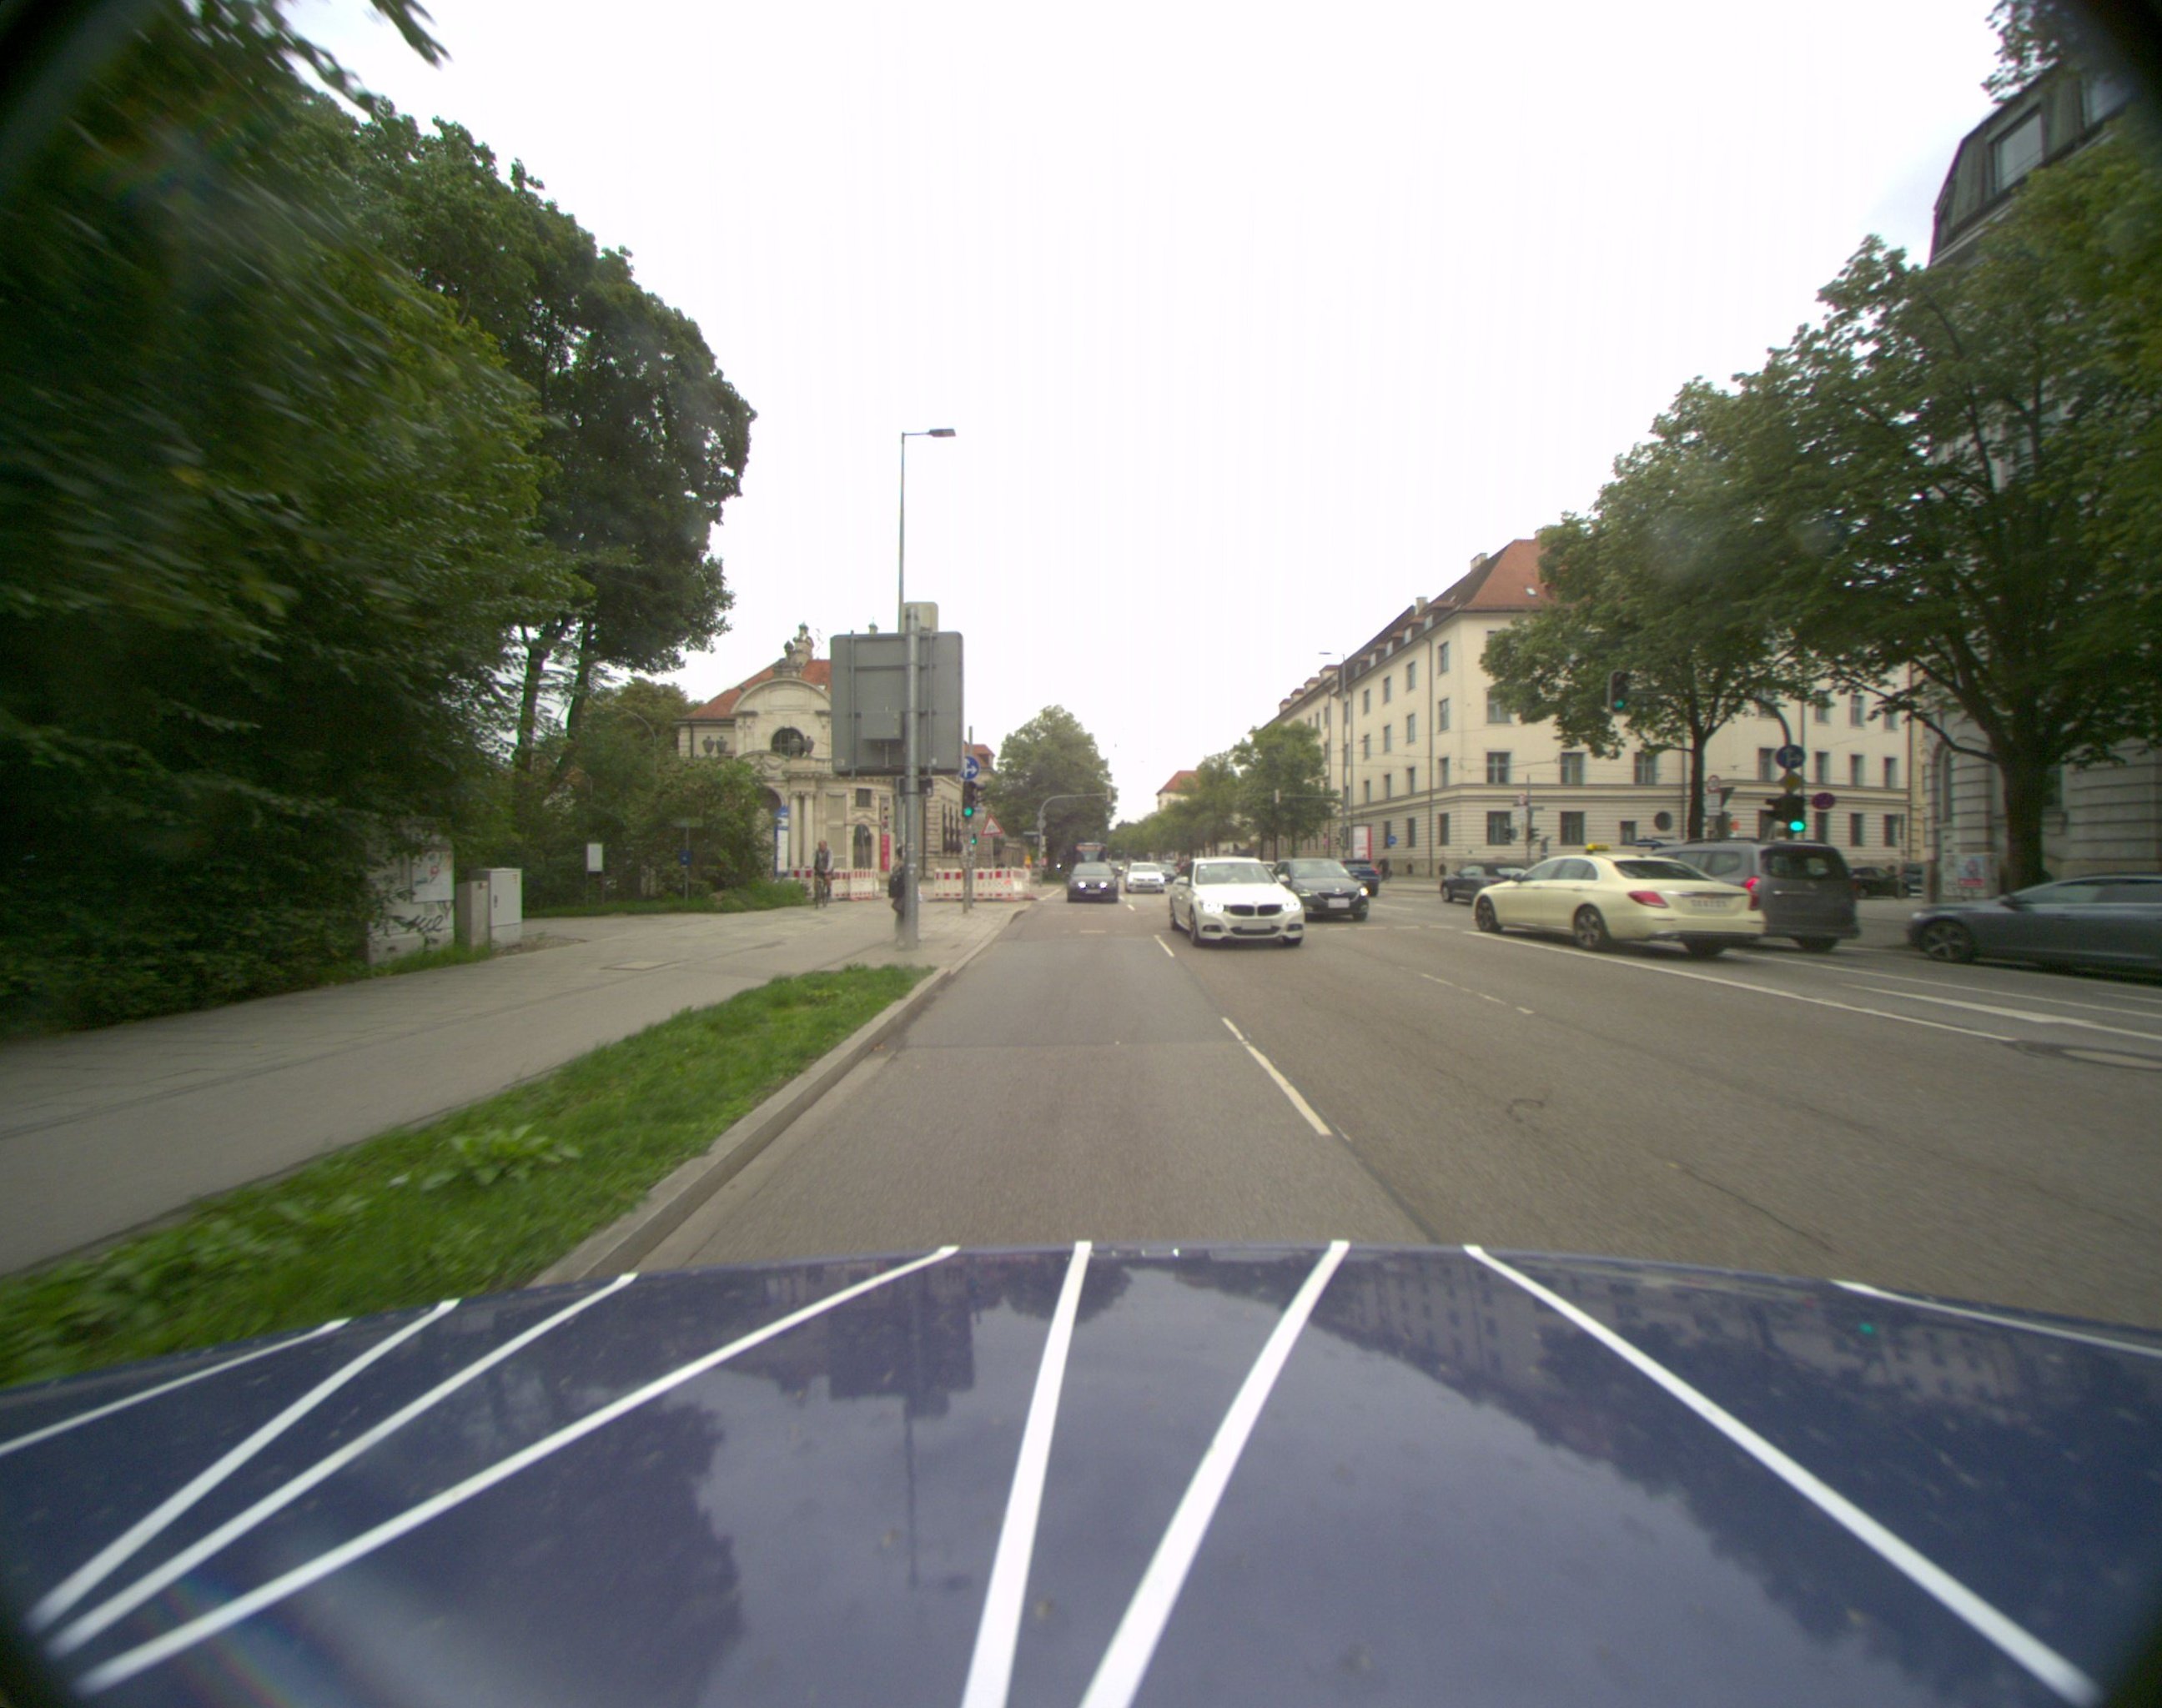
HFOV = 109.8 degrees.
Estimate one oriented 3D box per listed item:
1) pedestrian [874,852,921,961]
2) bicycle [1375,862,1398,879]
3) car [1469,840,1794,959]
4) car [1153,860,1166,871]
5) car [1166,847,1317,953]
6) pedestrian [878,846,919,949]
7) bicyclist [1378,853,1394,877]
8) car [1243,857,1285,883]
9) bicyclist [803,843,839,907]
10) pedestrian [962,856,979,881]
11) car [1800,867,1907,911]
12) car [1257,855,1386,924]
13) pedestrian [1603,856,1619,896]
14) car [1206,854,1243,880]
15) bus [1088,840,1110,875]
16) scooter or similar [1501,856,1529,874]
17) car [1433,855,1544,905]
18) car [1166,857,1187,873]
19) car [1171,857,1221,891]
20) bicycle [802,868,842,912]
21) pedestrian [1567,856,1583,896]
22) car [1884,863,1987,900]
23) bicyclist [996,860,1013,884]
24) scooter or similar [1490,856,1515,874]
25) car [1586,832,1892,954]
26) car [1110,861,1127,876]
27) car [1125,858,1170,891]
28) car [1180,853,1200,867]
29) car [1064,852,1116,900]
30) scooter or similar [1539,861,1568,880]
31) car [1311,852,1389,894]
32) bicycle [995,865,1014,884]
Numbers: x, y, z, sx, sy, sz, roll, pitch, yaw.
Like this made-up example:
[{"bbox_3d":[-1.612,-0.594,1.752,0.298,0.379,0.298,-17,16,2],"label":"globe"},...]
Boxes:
[{"bbox_3d":[-3.012,0.842,12.513,0.626,1.750,0.635,-1,1,-4],"label":"pedestrian"},{"bbox_3d":[19.955,1.069,49.659,0.663,0.982,2.181,-2,0,1],"label":"bicycle"},{"bbox_3d":[8.357,0.570,12.255,1.832,1.533,4.823,0,1,2],"label":"car"},{"bbox_3d":[12.331,1.741,119.460,1.683,1.630,4.165,0,0,1],"label":"car"},{"bbox_3d":[2.762,0.690,14.266,1.797,1.627,5.026,-1,0,0],"label":"car"},{"bbox_3d":[-3.207,0.745,13.389,0.610,1.750,0.635,-1,1,-6],"label":"pedestrian"},{"bbox_3d":[19.944,0.718,49.752,0.661,1.569,0.892,-2,1,1],"label":"bicyclist"},{"bbox_3d":[11.788,1.004,49.272,1.748,1.586,4.000,1,0,0],"label":"car"},{"bbox_3d":[-6.977,0.552,20.431,0.759,1.657,0.898,-2,1,-13],"label":"bicyclist"},{"bbox_3d":[-7.842,1.038,54.064,1.067,1.754,0.774,-2,1,-2],"label":"pedestrian"},{"bbox_3d":[32.050,1.410,31.532,3.576,1.720,1.691,0,0,-18],"label":"car"},{"bbox_3d":[5.705,0.766,18.577,1.797,1.439,4.274,-1,0,0],"label":"car"},{"bbox_3d":[24.727,1.034,35.465,0.502,1.844,0.470,0,1,19],"label":"pedestrian"},{"bbox_3d":[9.084,0.794,48.218,1.638,1.562,3.946,0,0,1],"label":"car"},{"bbox_3d":[1.373,0.285,60.023,1.638,2.570,6.702,0,0,1],"label":"bus"},{"bbox_3d":[27.963,0.691,48.936,0.690,1.112,1.948,-2,0,1],"label":"scooter or similar"},{"bbox_3d":[13.983,0.824,26.358,1.739,1.567,4.056,-1,0,1],"label":"car"},{"bbox_3d":[9.729,1.059,77.395,1.638,1.562,3.946,0,0,1],"label":"car"},{"bbox_3d":[5.432,0.903,36.309,1.696,1.507,4.338,0,0,0],"label":"car"},{"bbox_3d":[-6.944,0.938,20.431,0.740,1.051,2.160,-2,0,-13],"label":"bicycle"},{"bbox_3d":[23.046,1.031,35.429,0.502,1.844,0.528,0,1,19],"label":"pedestrian"},{"bbox_3d":[37.227,1.147,33.106,3.576,1.509,1.691,0,0,-18],"label":"car"},{"bbox_3d":[-4.405,1.026,43.786,0.808,1.305,0.893,-2,1,1],"label":"bicyclist"},{"bbox_3d":[27.011,0.696,48.696,0.690,1.112,1.949,-2,0,6],"label":"scooter or similar"},{"bbox_3d":[11.469,0.536,13.749,1.832,1.740,4.258,2,3,2],"label":"car"},{"bbox_3d":[3.967,1.497,81.171,1.638,1.562,3.946,0,0,1],"label":"car"},{"bbox_3d":[3.110,0.946,36.357,1.797,1.439,4.274,-1,0,0],"label":"car"},{"bbox_3d":[12.324,0.638,86.332,1.757,1.521,4.227,-1,0,1],"label":"car"},{"bbox_3d":[0.317,0.748,28.226,1.797,1.627,4.274,-1,1,0],"label":"car"},{"bbox_3d":[30.338,1.045,48.834,0.690,1.151,1.902,-2,0,1],"label":"scooter or similar"},{"bbox_3d":[11.412,0.756,32.595,1.844,1.646,4.350,1,0,1],"label":"car"},{"bbox_3d":[-4.403,1.171,43.697,0.830,1.001,2.058,-2,0,1],"label":"bicycle"}]
